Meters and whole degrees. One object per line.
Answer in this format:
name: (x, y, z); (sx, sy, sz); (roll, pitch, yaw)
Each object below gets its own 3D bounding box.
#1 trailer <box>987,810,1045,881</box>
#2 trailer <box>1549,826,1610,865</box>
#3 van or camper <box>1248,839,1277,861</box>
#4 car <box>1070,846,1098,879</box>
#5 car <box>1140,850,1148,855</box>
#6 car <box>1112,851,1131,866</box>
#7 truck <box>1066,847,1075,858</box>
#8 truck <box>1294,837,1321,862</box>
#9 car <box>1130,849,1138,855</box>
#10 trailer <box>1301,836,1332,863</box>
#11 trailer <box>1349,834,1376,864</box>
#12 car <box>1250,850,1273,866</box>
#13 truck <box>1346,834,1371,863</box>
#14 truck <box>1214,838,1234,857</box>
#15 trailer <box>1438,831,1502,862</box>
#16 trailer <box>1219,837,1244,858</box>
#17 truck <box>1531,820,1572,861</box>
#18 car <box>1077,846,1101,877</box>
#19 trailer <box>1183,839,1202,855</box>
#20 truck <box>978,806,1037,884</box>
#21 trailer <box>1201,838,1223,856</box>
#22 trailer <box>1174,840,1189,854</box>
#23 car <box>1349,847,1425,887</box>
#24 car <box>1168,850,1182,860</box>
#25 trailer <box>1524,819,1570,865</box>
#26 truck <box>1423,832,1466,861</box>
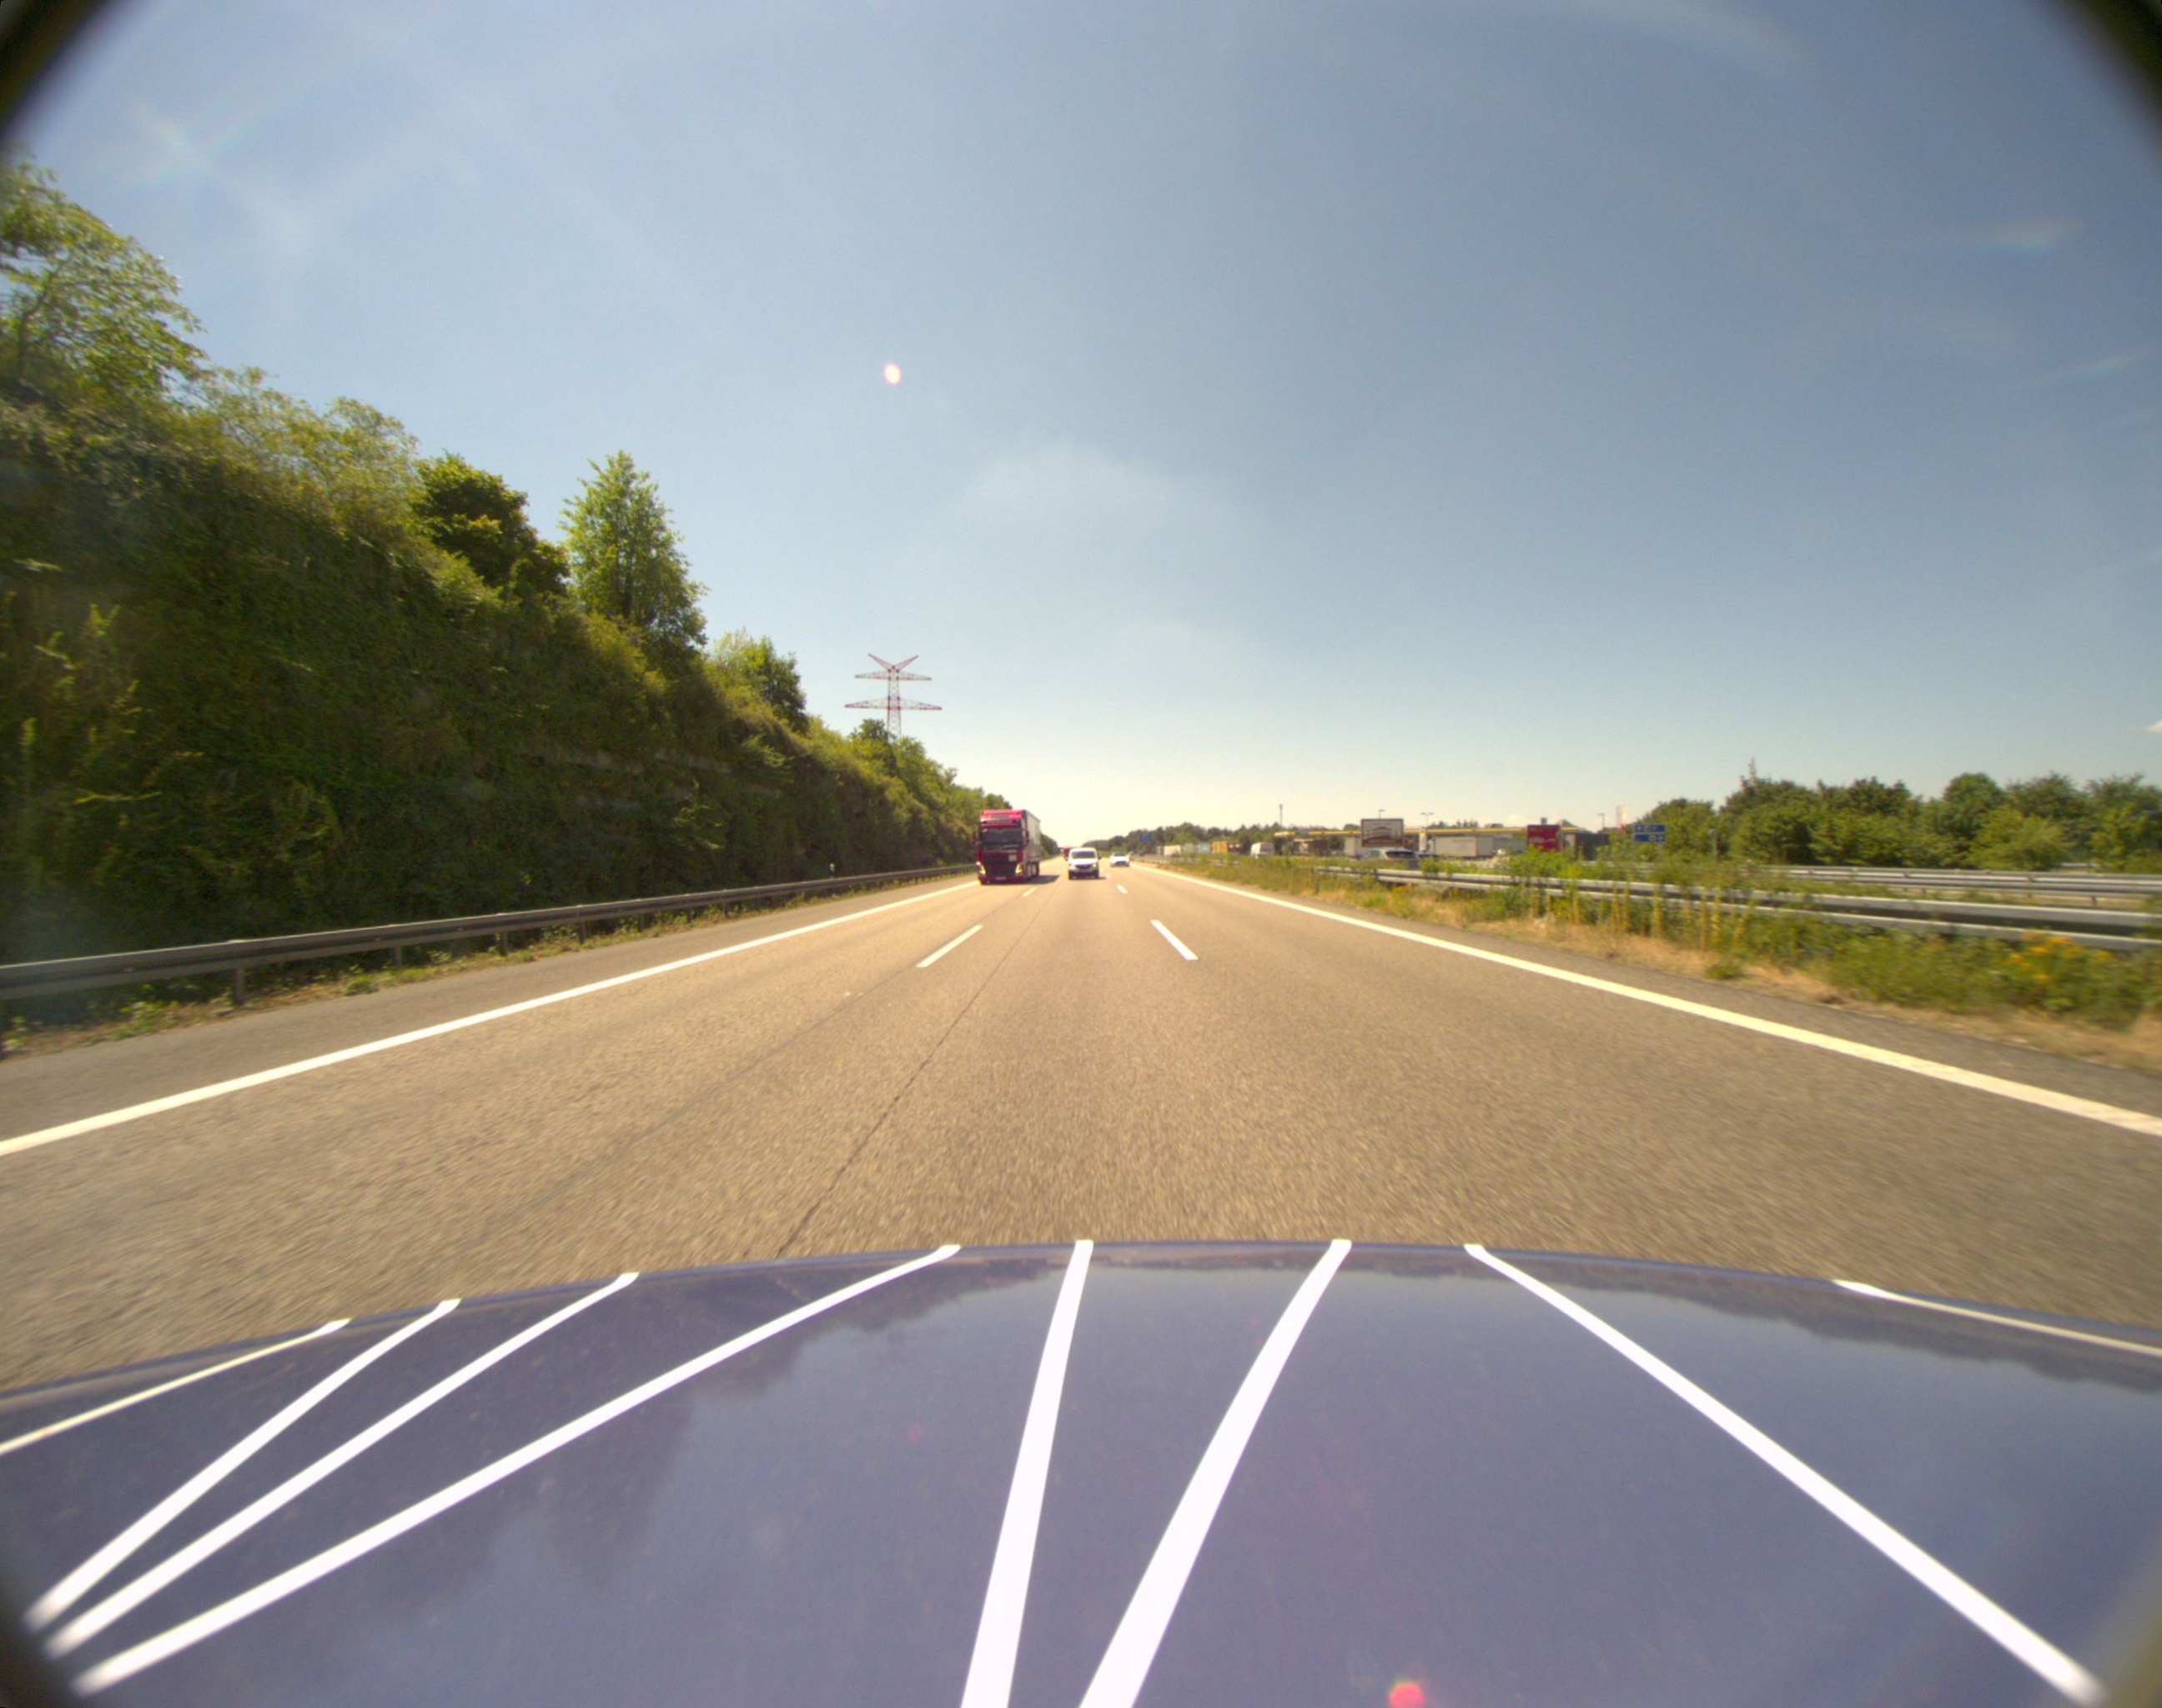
trailer: (-3.988, -0.529, 49.908); (2.497, 3.887, 14.244); (-2, 0, 0)
trailer: (60.844, -1.052, 92.604); (11.083, 4.241, 3.158); (-3, 1, -40)
van or camper: (21.980, -0.522, 92.287); (2.064, 2.510, 6.389); (-3, 0, 1)
car: (0.177, 0.491, 44.556); (1.501, 1.799, 3.393); (-3, 0, 0)
car: (18.116, -0.554, 219.109); (1.873, 1.390, 4.545); (1, 0, 0)
car: (4.058, 0.410, 76.926); (1.775, 1.410, 3.401); (-3, 0, 1)
truck: (-3.481, -0.435, 255.036); (2.540, 3.656, 5.219); (-3, 1, 1)
truck: (44.967, -0.919, 150.964); (3.033, 4.822, 7.878); (-3, 1, 2)
car: (13.826, -0.575, 199.518); (1.722, 1.520, 4.666); (1, 0, 0)
trailer: (44.782, -0.871, 144.714); (3.040, 4.822, 9.134); (-3, 0, 2)
trailer: (47.388, -0.906, 128.064); (3.306, 4.846, 9.692); (-3, 1, 15)
car: (17.630, 0.385, 74.315); (1.450, 1.506, 3.402); (-3, 0, 1)
truck: (49.209, -1.025, 134.787); (3.306, 4.822, 7.633); (-3, 1, 15)
truck: (31.847, -1.433, 169.270); (2.840, 4.176, 7.917); (-3, 0, -1)
trailer: (58.259, -1.093, 114.408); (3.309, 4.332, 12.921); (-3, 0, 2)
trailer: (31.936, -1.403, 161.775); (2.840, 4.195, 11.081); (-3, 0, -1)
truck: (49.198, -1.461, 79.388); (3.119, 4.026, 6.657); (-2, 1, 35)
car: (0.471, 0.444, 48.095); (1.413, 1.795, 3.200); (-3, 1, 0)
trailer: (30.420, -1.957, 207.601); (3.121, 4.134, 11.013); (-3, 0, -1)
truck: (-3.968, -0.488, 42.474); (2.505, 3.897, 7.096); (-2, 1, 0)
trailer: (31.512, -1.611, 183.223); (2.840, 4.124, 12.082); (-3, 0, -1)
trailer: (30.368, -2.078, 229.886); (2.605, 4.194, 10.513); (-3, 0, 0)
car: (12.654, 0.492, 31.693); (1.604, 1.548, 3.854); (0, 0, 0)
car: (17.893, 0.203, 144.449); (1.958, 1.799, 5.046); (-3, 0, -1)
trailer: (45.182, -1.241, 73.525); (3.123, 4.032, 11.334); (-2, 1, 34)
truck: (58.548, -1.160, 122.711); (3.309, 4.332, 7.625); (-3, 1, 2)
